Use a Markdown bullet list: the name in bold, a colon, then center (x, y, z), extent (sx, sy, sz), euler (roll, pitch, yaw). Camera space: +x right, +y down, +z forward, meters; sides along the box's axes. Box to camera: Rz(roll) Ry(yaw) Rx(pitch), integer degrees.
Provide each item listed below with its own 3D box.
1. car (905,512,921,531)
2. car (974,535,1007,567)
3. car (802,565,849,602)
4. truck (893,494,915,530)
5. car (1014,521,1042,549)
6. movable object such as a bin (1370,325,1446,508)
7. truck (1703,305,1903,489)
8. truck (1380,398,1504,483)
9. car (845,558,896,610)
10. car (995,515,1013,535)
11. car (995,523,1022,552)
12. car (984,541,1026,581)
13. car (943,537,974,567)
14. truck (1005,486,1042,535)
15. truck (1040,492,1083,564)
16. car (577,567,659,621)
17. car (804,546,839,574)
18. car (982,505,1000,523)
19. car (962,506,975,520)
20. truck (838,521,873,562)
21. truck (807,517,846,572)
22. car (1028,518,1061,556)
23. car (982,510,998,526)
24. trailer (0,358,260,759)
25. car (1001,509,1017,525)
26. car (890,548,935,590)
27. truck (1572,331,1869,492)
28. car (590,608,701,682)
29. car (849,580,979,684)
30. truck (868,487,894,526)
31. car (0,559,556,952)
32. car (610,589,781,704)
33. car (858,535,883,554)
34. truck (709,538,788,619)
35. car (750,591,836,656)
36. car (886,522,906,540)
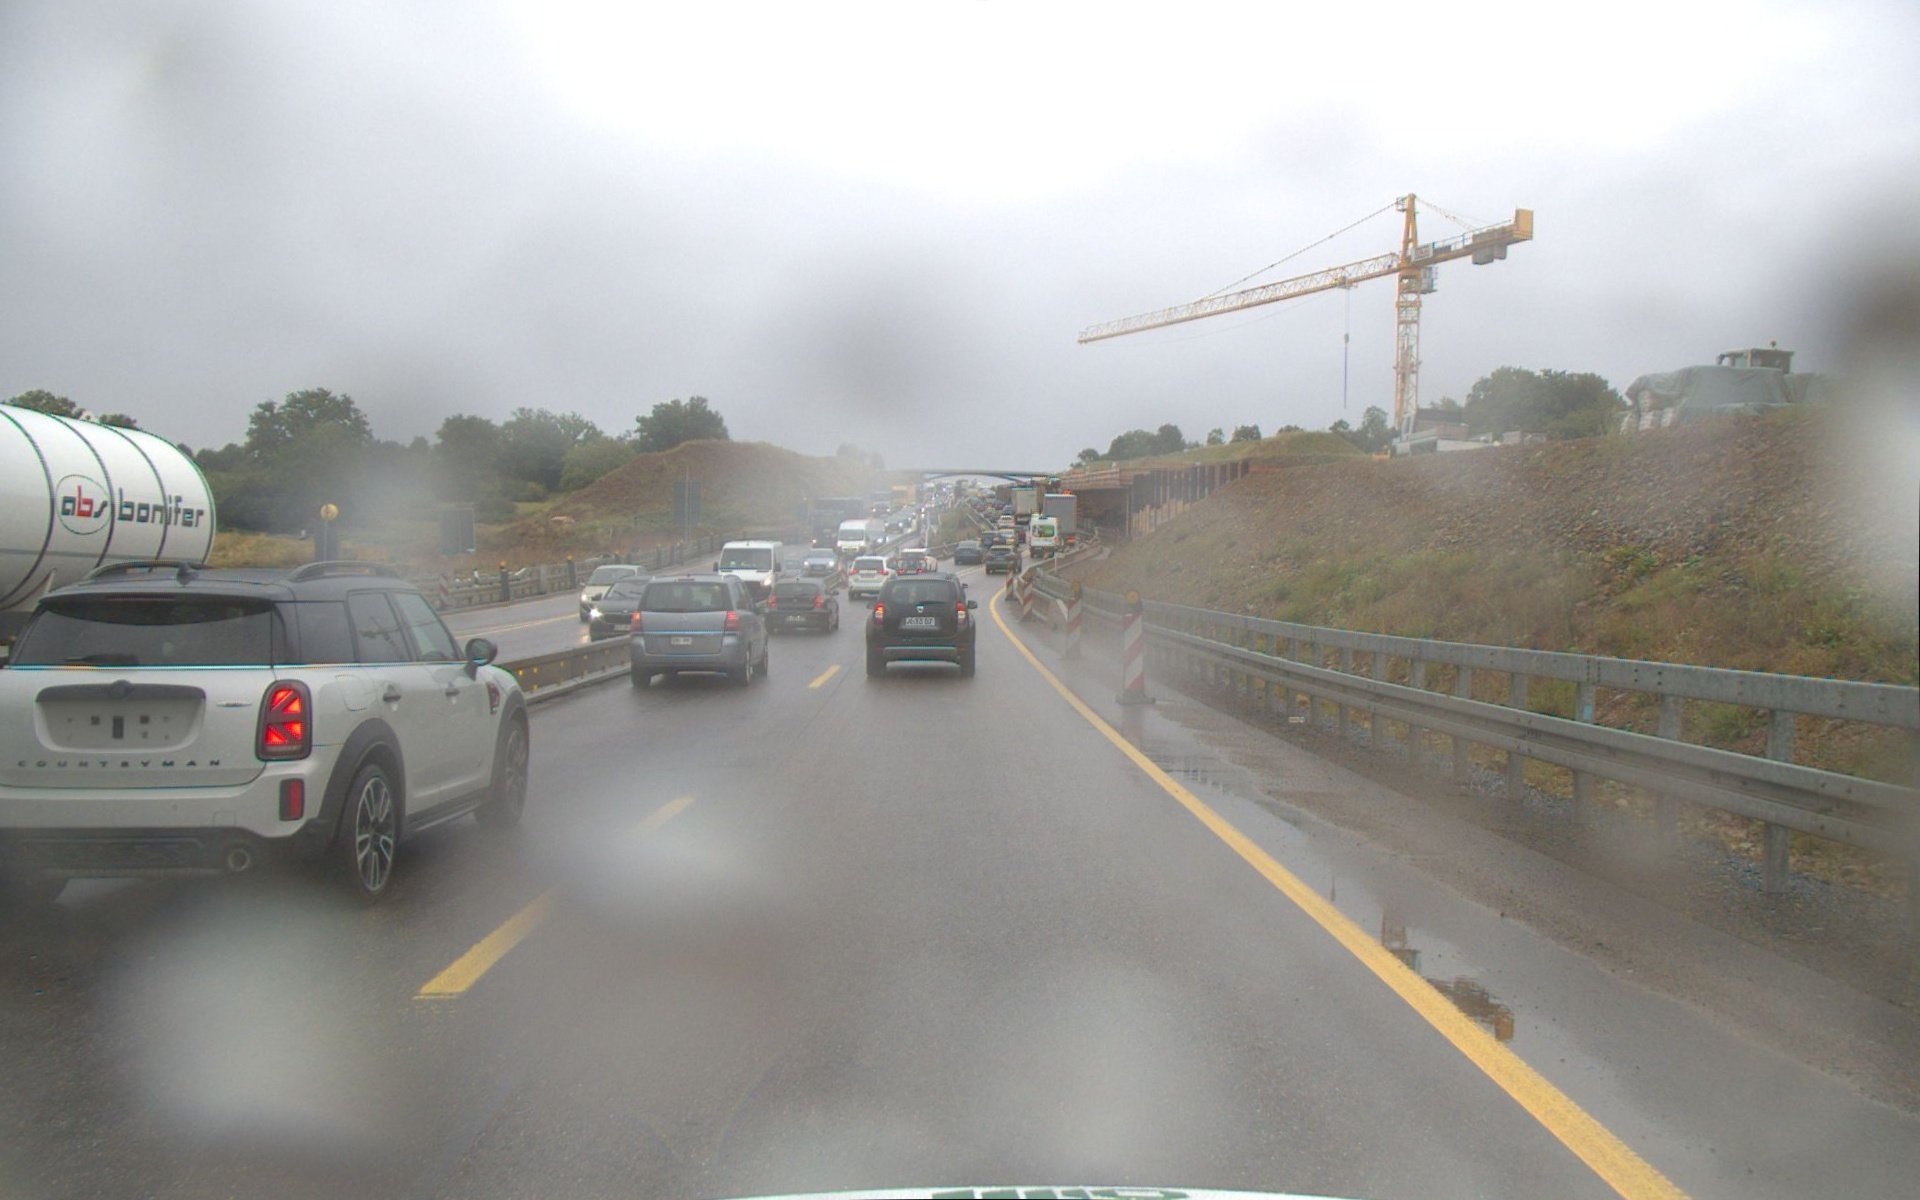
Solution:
- **car**: center (-5.261, -8.760, 184.707), extent (1.749, 1.841, 4.499), euler (0, 0, 0)
- **car**: center (2.238, -3.572, 120.172), extent (1.951, 2.200, 4.144), euler (0, 0, 8)
- **car**: center (-5.843, -0.746, 72.253), extent (1.750, 1.565, 4.311), euler (0, 1, -1)
- **truck**: center (-8.639, -13.634, 257.176), extent (3.077, 5.511, 8.525), euler (1, 2, 0)
- **car**: center (5.832, -5.540, 141.612), extent (1.951, 2.200, 4.144), euler (0, 0, 8)
- **movable object such as a bin**: center (29.814, -11.956, 110.633), extent (4.618, 11.031, 10.312), euler (0, 0, 14)
- **truck**: center (22.826, -5.374, 45.133), extent (2.325, 4.292, 5.978), euler (0, 0, -1)
- **truck**: center (18.290, -6.003, 63.191), extent (2.592, 2.599, 6.983), euler (0, 0, -1)
- **car**: center (-3.641, -0.630, 67.756), extent (1.953, 2.049, 3.892), euler (0, 0, -1)
- **car**: center (4.658, -7.927, 175.268), extent (1.811, 1.927, 4.021), euler (0, 0, 0)
- **car**: center (3.862, -4.943, 131.350), extent (1.951, 2.200, 4.143), euler (0, 0, 4)
- **car**: center (2.611, -2.220, 95.567), extent (1.951, 2.200, 4.144), euler (0, 0, 8)
- **car**: center (-0.074, -3.109, 107.852), extent (1.952, 1.792, 3.815), euler (0, 0, 0)
- **truck**: center (7.539, -10.623, 197.884), extent (3.727, 5.131, 12.918), euler (0, 0, -1)
- **truck**: center (8.473, -5.870, 136.999), extent (3.035, 5.521, 9.450), euler (0, 0, 7)
- **car**: center (-10.440, -0.208, 50.690), extent (1.751, 1.573, 3.999), euler (0, 1, -1)
- **car**: center (-7.686, -2.229, 92.218), extent (1.642, 1.550, 4.344), euler (0, 1, -1)
- **car**: center (3.566, -9.907, 190.866), extent (1.953, 2.048, 4.000), euler (-1, 2, -1)
- **car**: center (1.279, -13.485, 256.141), extent (1.953, 2.049, 3.999), euler (0, 0, -1)
- **truck**: center (-7.214, -4.031, 114.600), extent (2.104, 2.760, 6.015), euler (0, 2, -1)
- **truck**: center (-10.282, -4.338, 128.197), extent (2.588, 4.039, 9.212), euler (0, 2, -2)
- **car**: center (5.982, -4.436, 116.989), extent (1.951, 2.527, 4.986), euler (0, 0, 8)
- **car**: center (3.845, -10.646, 214.651), extent (1.953, 2.048, 4.000), euler (-1, 2, -1)
- **trailer**: center (-10.250, -0.388, 15.440), extent (2.567, 3.742, 12.001), euler (0, 0, -1)
- **car**: center (6.919, -11.721, 233.495), extent (1.953, 2.049, 3.999), euler (0, 0, -1)
- **car**: center (-2.522, -1.645, 88.587), extent (1.951, 2.200, 4.143), euler (0, 0, 4)
- **truck**: center (18.236, -4.408, 40.528), extent (3.325, 2.925, 8.961), euler (0, 0, 1)
- **car**: center (-7.214, 0.992, 38.334), extent (1.736, 1.531, 4.678), euler (0, 1, -1)
- **car**: center (-0.717, 0.494, 28.003), extent (2.038, 1.628, 4.140), euler (0, 0, 0)
- **truck**: center (-10.758, -12.652, 225.274), extent (3.019, 5.004, 8.566), euler (1, 2, 0)
- **car**: center (-3.565, 0.621, 9.014), extent (1.779, 1.628, 4.307), euler (0, 1, -2)
- **car**: center (-3.964, 0.653, 25.472), extent (1.953, 1.628, 4.140), euler (0, 0, 0)
- **car**: center (-7.100, -4.447, 131.575), extent (1.831, 1.496, 4.670), euler (0, 2, -2)
- **truck**: center (-7.198, -0.704, 56.819), extent (2.036, 2.621, 5.960), euler (0, 0, -1)
- **car**: center (-4.306, 0.581, 43.255), extent (1.953, 1.628, 4.139), euler (0, 0, -2)
- **car**: center (-6.330, -6.826, 163.819), extent (1.702, 1.713, 5.552), euler (1, 2, 0)
